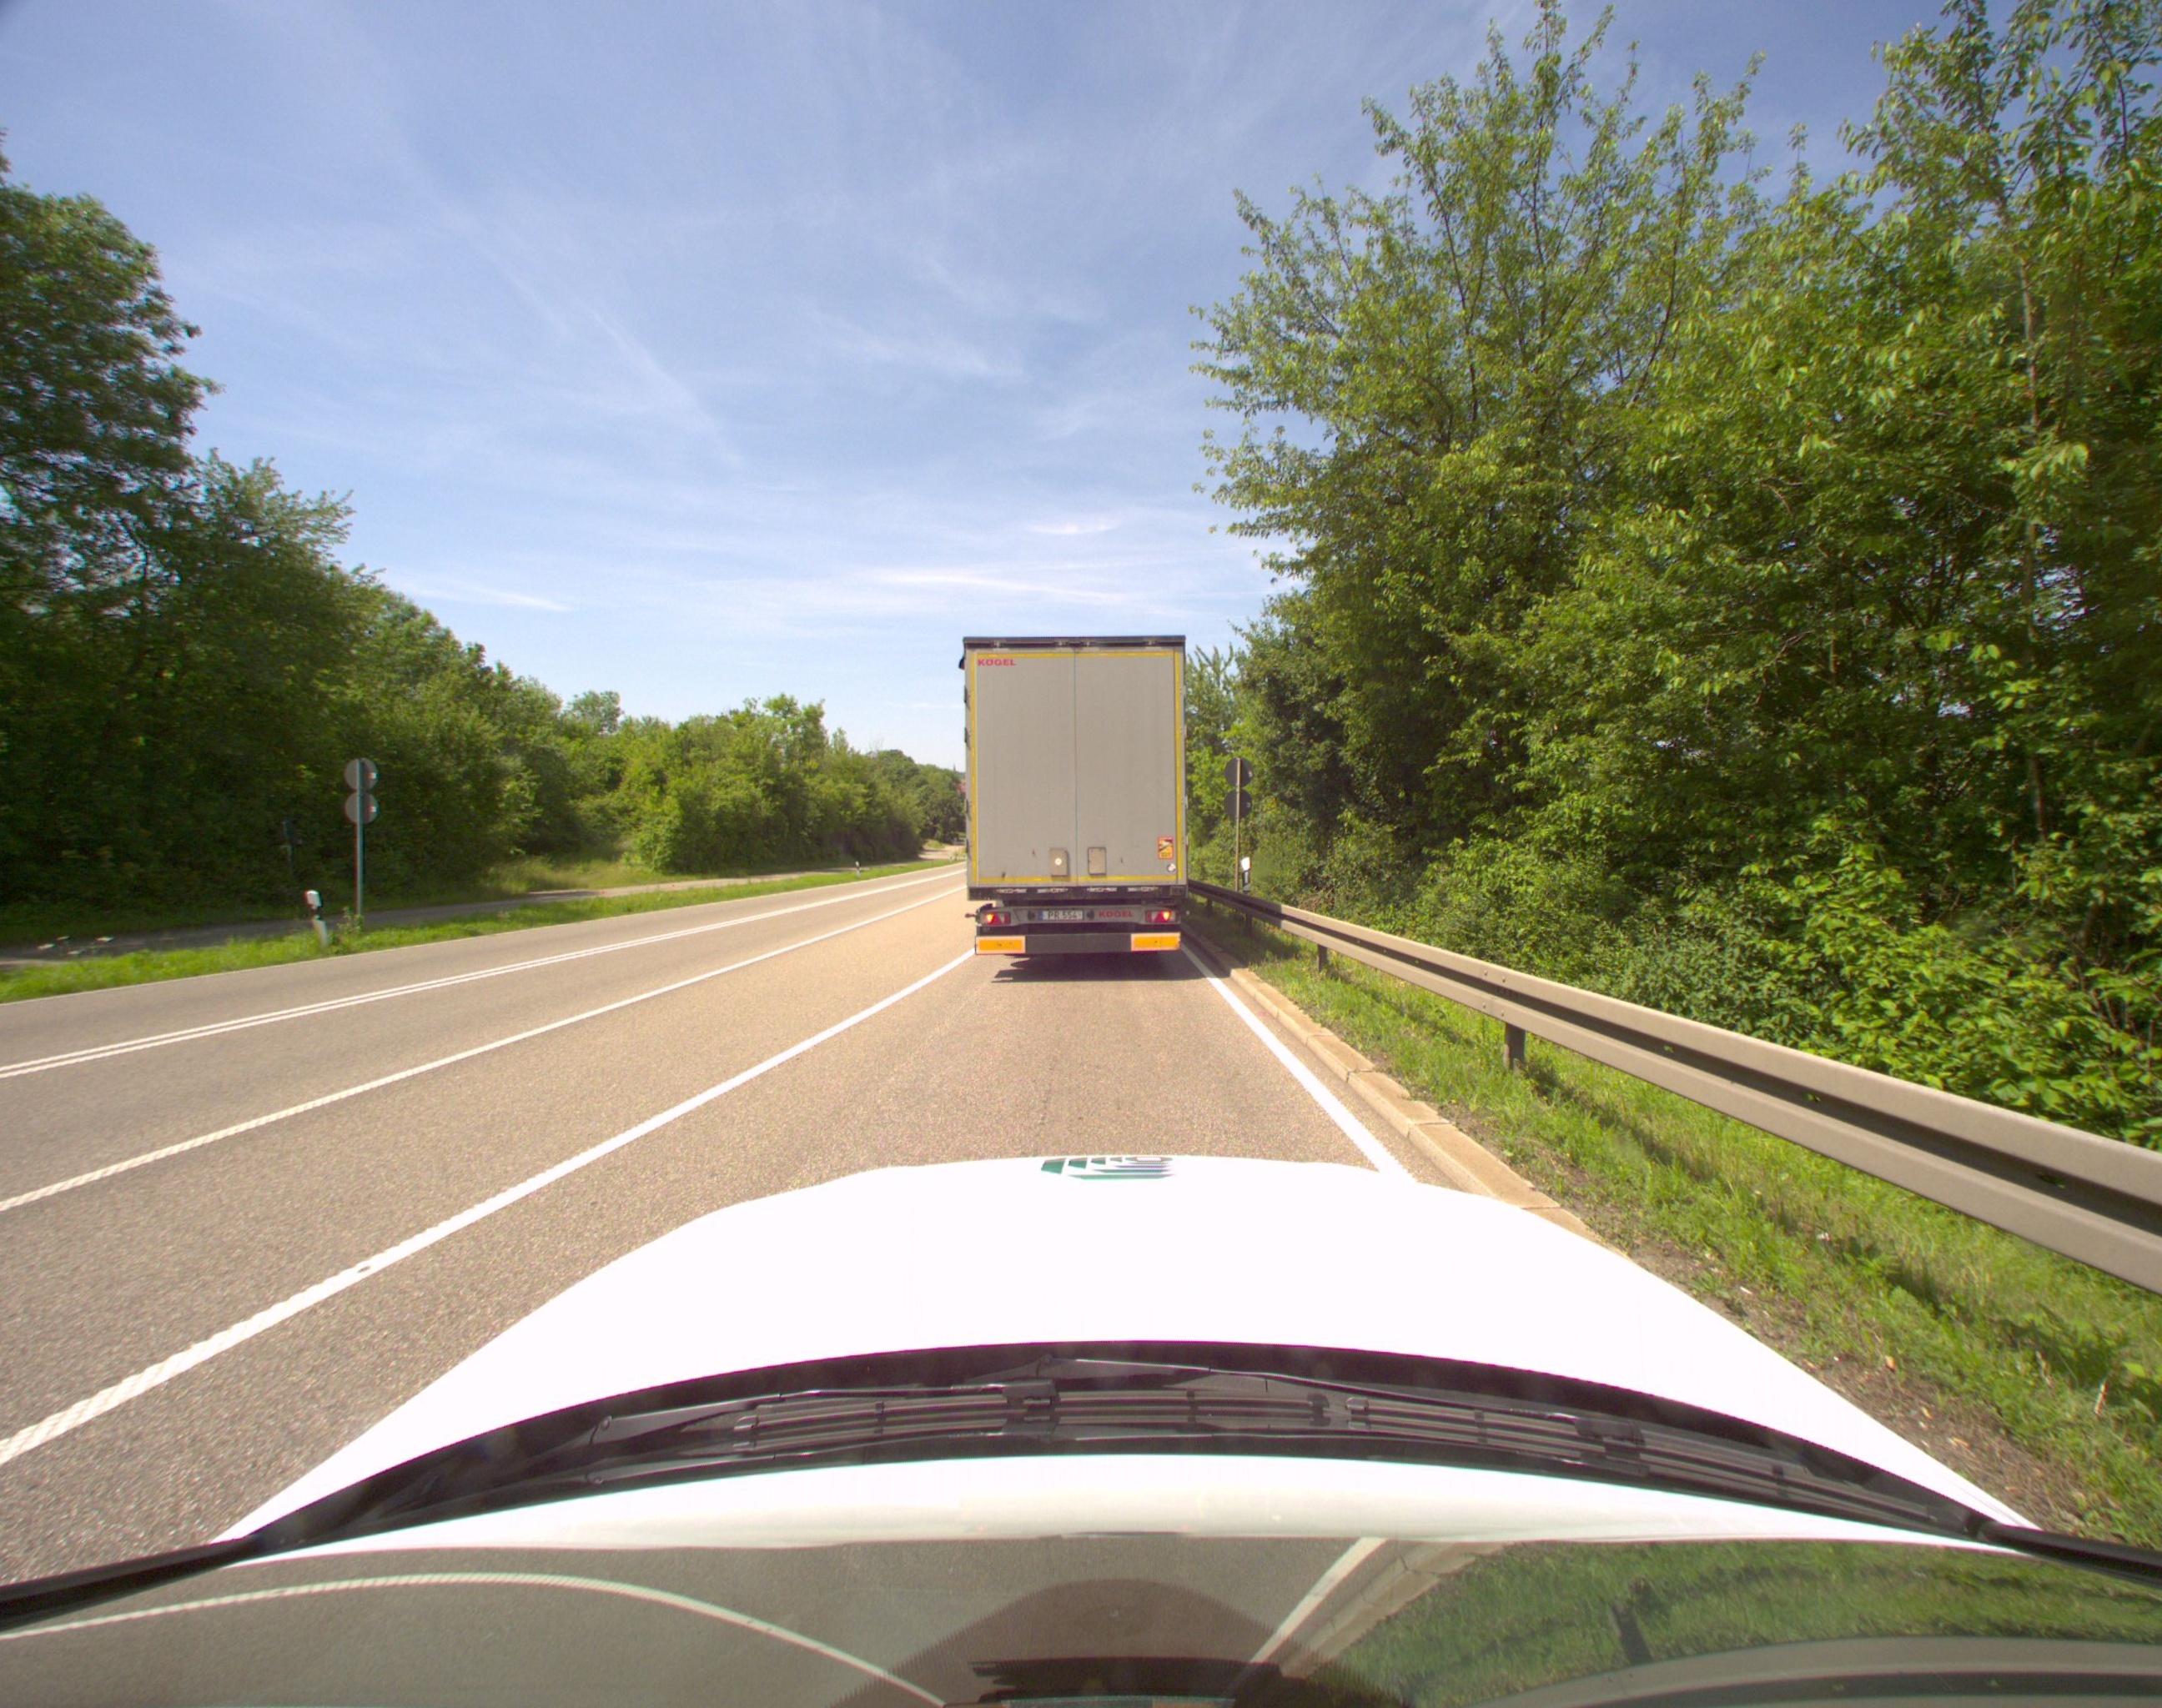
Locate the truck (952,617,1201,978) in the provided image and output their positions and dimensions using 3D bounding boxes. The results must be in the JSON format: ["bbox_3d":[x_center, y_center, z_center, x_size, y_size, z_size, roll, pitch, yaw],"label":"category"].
[{"bbox_3d":[0.059,-0.669,15.136,2.747,4.029,11.926,-1,0,1],"label":"truck"}]
